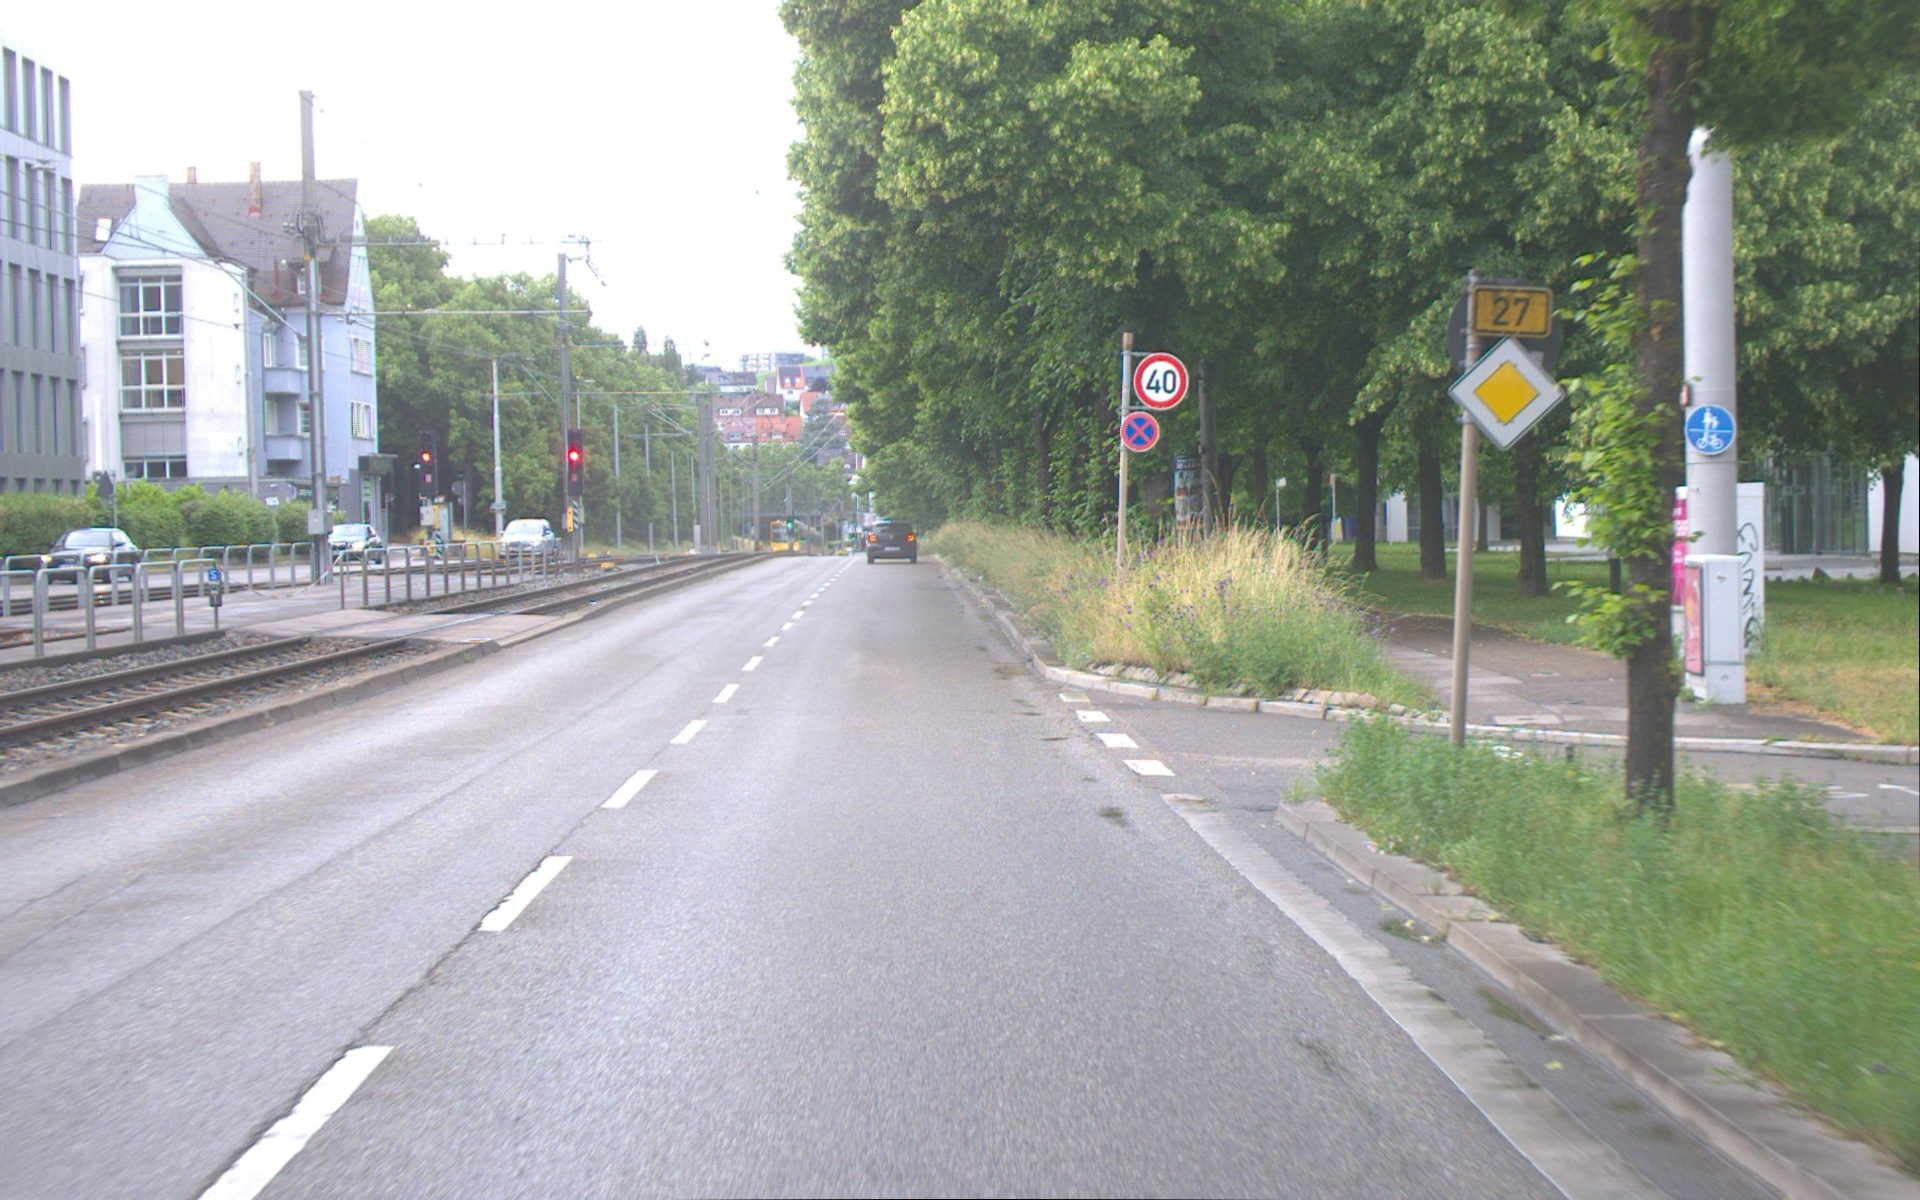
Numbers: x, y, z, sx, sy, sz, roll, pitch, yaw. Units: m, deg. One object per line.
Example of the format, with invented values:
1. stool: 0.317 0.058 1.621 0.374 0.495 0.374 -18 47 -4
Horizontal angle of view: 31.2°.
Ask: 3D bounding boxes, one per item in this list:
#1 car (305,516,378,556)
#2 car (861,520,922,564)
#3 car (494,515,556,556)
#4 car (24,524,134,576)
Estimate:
1. car: -21.610 -2.229 120.233 1.798 1.342 4.260 -1 1 -1
2. car: -2.297 -1.977 115.969 1.982 1.435 4.474 -1 1 -1
3. car: -17.967 -2.674 142.271 1.902 1.639 4.884 -1 1 0
4. car: -21.971 -1.271 85.906 1.756 1.239 3.988 -1 1 -1
